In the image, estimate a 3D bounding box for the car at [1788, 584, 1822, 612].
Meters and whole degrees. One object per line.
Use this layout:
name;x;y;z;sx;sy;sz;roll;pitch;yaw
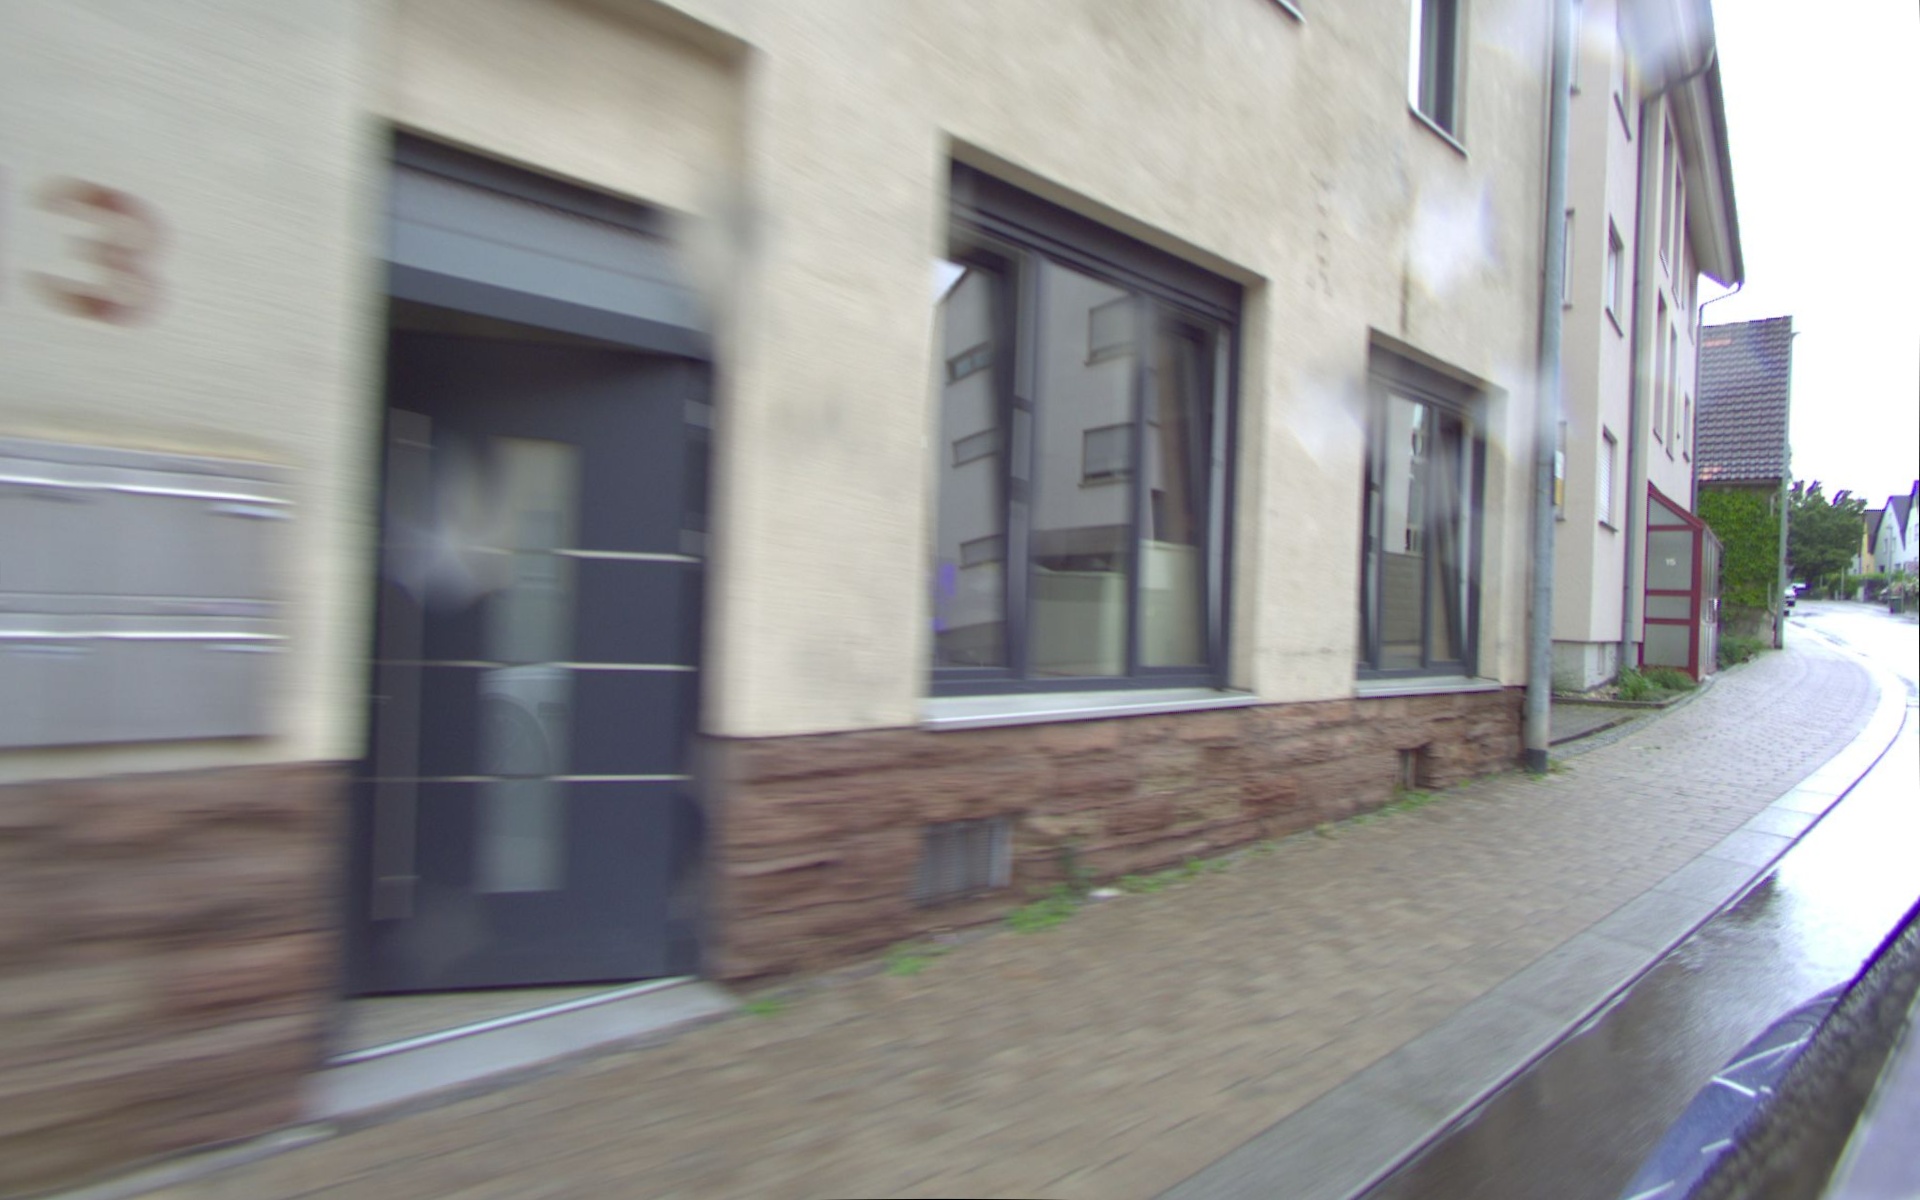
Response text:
car;65.855;-0.192;78.896;1.820;1.999;4.455;3;3;38

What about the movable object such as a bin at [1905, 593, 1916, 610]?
movable object such as a bin;62.180;0.098;66.198;0.519;1.039;0.409;1;1;39

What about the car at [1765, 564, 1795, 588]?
car;74.198;-2.183;91.599;1.699;2.128;3.894;1;1;33

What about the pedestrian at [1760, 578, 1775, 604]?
pedestrian;50.918;-0.560;63.842;0.653;1.600;0.431;4;3;38
